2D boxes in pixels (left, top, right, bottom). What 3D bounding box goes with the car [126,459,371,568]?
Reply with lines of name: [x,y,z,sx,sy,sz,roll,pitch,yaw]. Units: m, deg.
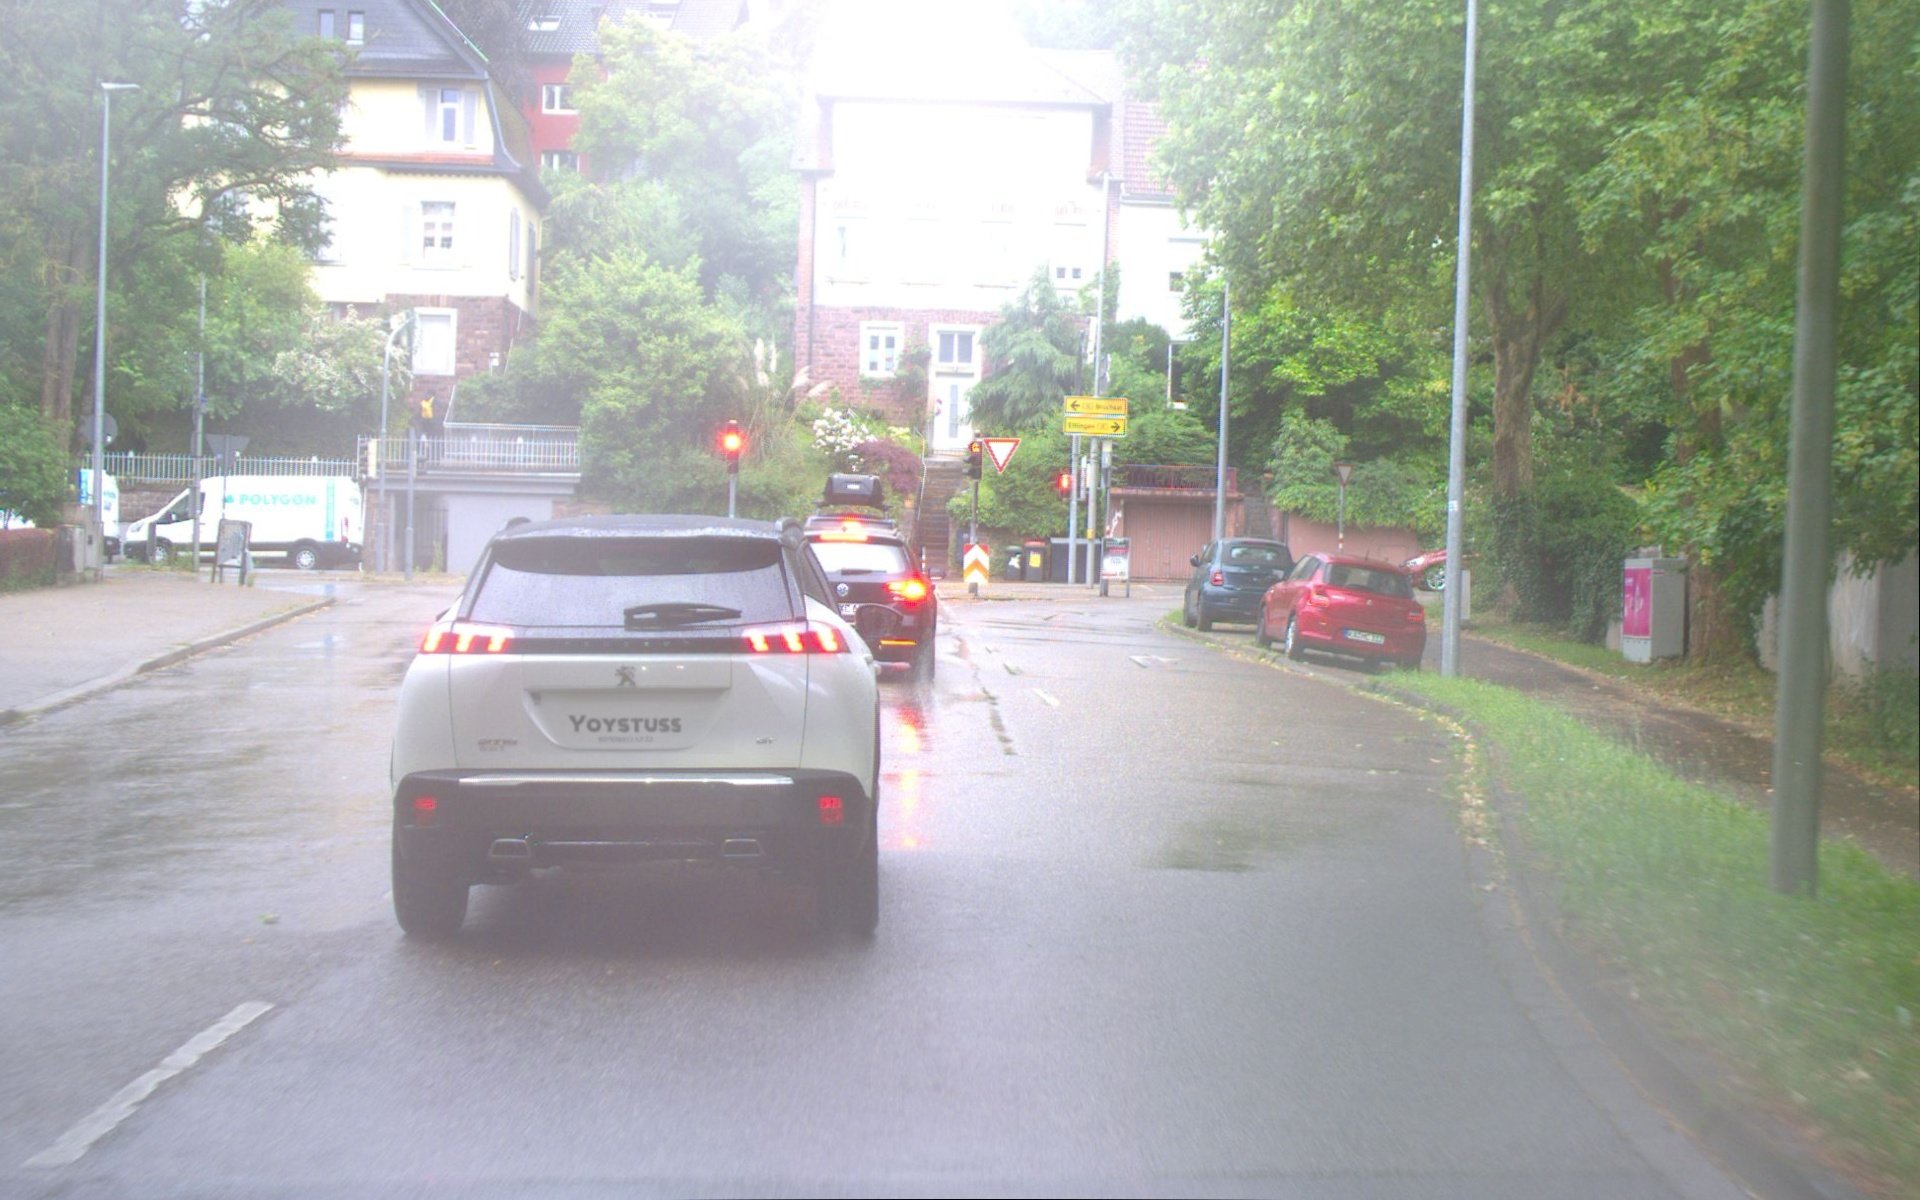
car: [-18.090,-2.187,87.620,5.660,2.485,2.316,3,0,0]

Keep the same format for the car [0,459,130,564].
car: [-24.316,-2.303,87.791,5.563,2.485,2.316,3,0,0]

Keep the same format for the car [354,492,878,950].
car: [-1.218,0.362,13.849,1.752,1.530,4.368,1,1,-1]

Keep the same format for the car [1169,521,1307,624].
car: [4.443,-0.464,55.368,1.749,1.486,3.600,4,1,-1]

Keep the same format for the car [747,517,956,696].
car: [-1.050,0.008,34.207,1.831,1.451,4.659,4,2,-1]

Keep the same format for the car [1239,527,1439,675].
car: [4.985,-0.024,45.742,1.819,1.512,3.744,9,2,-4]

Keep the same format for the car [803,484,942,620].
car: [-1.269,-0.714,48.150,1.760,1.705,4.602,3,2,-3]

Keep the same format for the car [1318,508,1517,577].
car: [11.079,-1.390,83.445,4.568,1.595,1.775,1,0,0]
